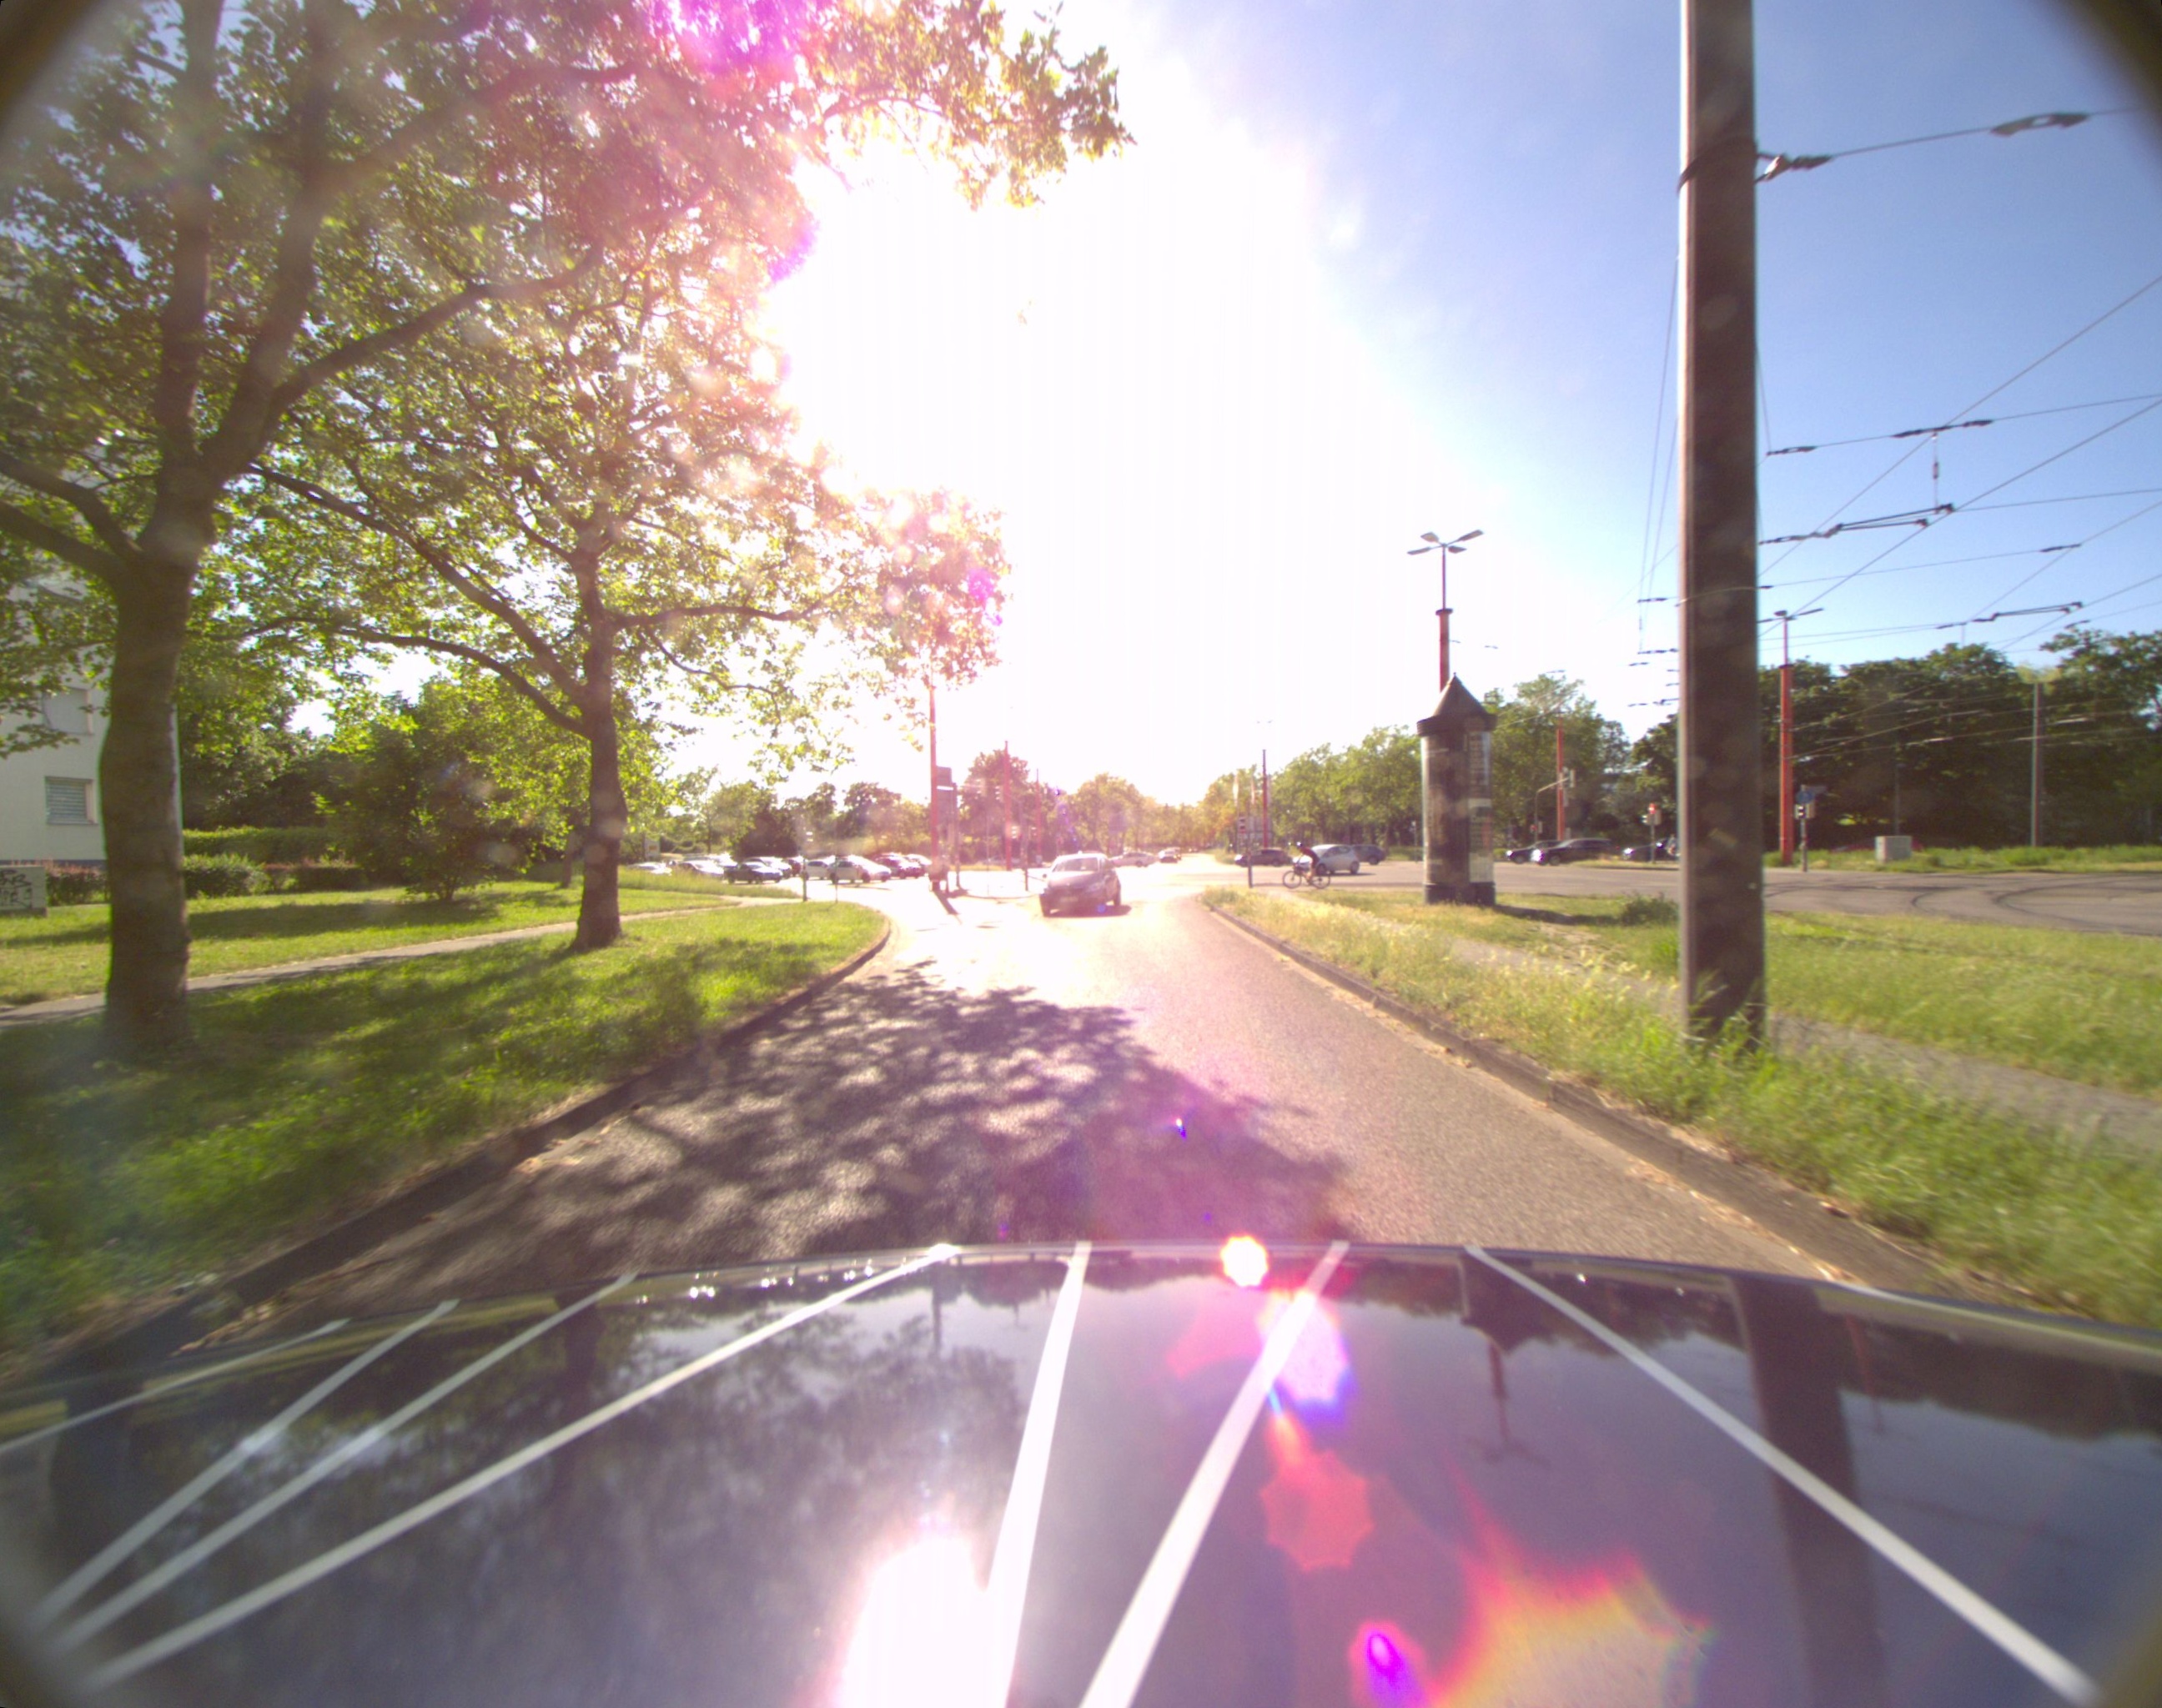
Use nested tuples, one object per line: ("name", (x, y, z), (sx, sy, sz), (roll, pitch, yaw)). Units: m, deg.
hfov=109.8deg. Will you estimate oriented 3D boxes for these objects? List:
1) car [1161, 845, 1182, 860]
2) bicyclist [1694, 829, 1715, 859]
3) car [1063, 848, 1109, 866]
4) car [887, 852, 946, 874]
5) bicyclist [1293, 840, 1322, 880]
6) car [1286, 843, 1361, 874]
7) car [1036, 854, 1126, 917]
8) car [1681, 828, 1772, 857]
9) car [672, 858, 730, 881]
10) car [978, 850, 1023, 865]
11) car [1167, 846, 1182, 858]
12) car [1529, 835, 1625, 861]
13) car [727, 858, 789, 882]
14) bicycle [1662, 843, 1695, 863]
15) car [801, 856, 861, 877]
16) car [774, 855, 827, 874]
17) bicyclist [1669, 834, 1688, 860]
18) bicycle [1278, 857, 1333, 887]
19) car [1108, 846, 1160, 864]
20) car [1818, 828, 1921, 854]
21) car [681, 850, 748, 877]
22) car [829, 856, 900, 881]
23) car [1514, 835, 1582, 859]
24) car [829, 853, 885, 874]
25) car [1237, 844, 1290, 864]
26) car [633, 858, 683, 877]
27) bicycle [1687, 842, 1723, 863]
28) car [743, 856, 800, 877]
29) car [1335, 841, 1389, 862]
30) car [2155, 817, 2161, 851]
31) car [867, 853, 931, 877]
("car", (9.783, -0.211, 81.998), (1.797, 1.501, 4.003), (-1, 0, 12))
("bicyclist", (34.377, -0.539, 41.888), (0.562, 1.642, 0.714), (-1, 1, 3))
("car", (0.435, 0.241, 65.885), (3.662, 1.450, 1.592), (-1, 1, 26))
("car", (-12.060, 0.662, 55.657), (3.989, 1.473, 1.803), (-1, 2, 29))
("bicyclist", (8.636, 0.235, 28.976), (0.955, 1.469, 0.704), (-1, 1, 25))
("car", (13.356, 0.219, 41.767), (3.910, 1.579, 1.701), (-1, 0, -29))
("car", (0.102, 0.832, 21.809), (1.797, 1.580, 3.766), (-2, 0, 12))
("car", (39.556, -0.693, 46.677), (3.989, 1.645, 1.803), (-1, 1, 31))
("car", (-28.085, 1.135, 56.155), (3.989, 1.576, 1.803), (-1, 2, 29))
("car", (-8.735, 0.385, 82.763), (4.641, 1.501, 1.797), (-1, 1, -15))
("car", (12.318, -0.264, 99.877), (1.797, 1.501, 4.002), (-1, 1, 9))
("car", (30.421, -0.357, 46.764), (4.618, 1.501, 1.791), (-1, 1, 13))
("car", (-22.359, 1.097, 52.598), (3.989, 1.502, 1.803), (-1, 2, 29))
("bicycle", (33.439, -0.069, 42.528), (0.499, 1.101, 1.800), (-1, 1, 3))
("car", (-18.023, 0.929, 54.812), (3.989, 1.384, 1.803), (-1, 2, 29))
("car", (-22.665, 0.853, 61.388), (3.989, 1.473, 1.803), (-1, 2, 29))
("bicyclist", (33.431, -0.416, 42.519), (0.499, 1.439, 0.778), (-1, 1, 3))
("bicycle", (8.575, 0.705, 29.023), (1.896, 1.101, 0.704), (-1, 1, 25))
("car", (4.775, 0.092, 68.552), (4.236, 1.501, 1.803), (-1, 0, 26))
("car", (47.899, -0.760, 46.287), (3.990, 1.501, 1.803), (-1, 0, 27))
("car", (-29.646, 0.780, 61.432), (5.180, 2.075, 2.095), (-1, 2, 29))
("car", (-13.831, 0.908, 48.553), (4.274, 1.473, 1.803), (-1, 2, 29))
("car", (32.919, -0.483, 53.671), (3.990, 1.645, 1.803), (-1, 0, 27))
("car", (-17.352, 0.728, 58.949), (3.989, 1.502, 1.803), (-1, 2, 29))
("car", (14.173, 0.018, 59.090), (3.777, 1.501, 1.616), (-1, 0, 22))
("car", (-36.252, 1.185, 65.075), (3.989, 1.502, 1.803), (-1, 2, 29))
("bicycle", (34.387, -0.091, 41.898), (0.562, 1.101, 1.800), (-1, 1, 3))
("car", (-23.516, 0.968, 57.665), (3.989, 1.498, 1.803), (-1, 2, 29))
("car", (22.003, -0.192, 59.486), (3.776, 1.497, 1.616), (-1, 0, 27))
("car", (60.408, -1.102, 39.752), (4.545, 1.825, 1.803), (-1, 0, 27))
("car", (-12.471, 0.770, 52.057), (3.989, 1.473, 1.803), (-1, 2, 29))
